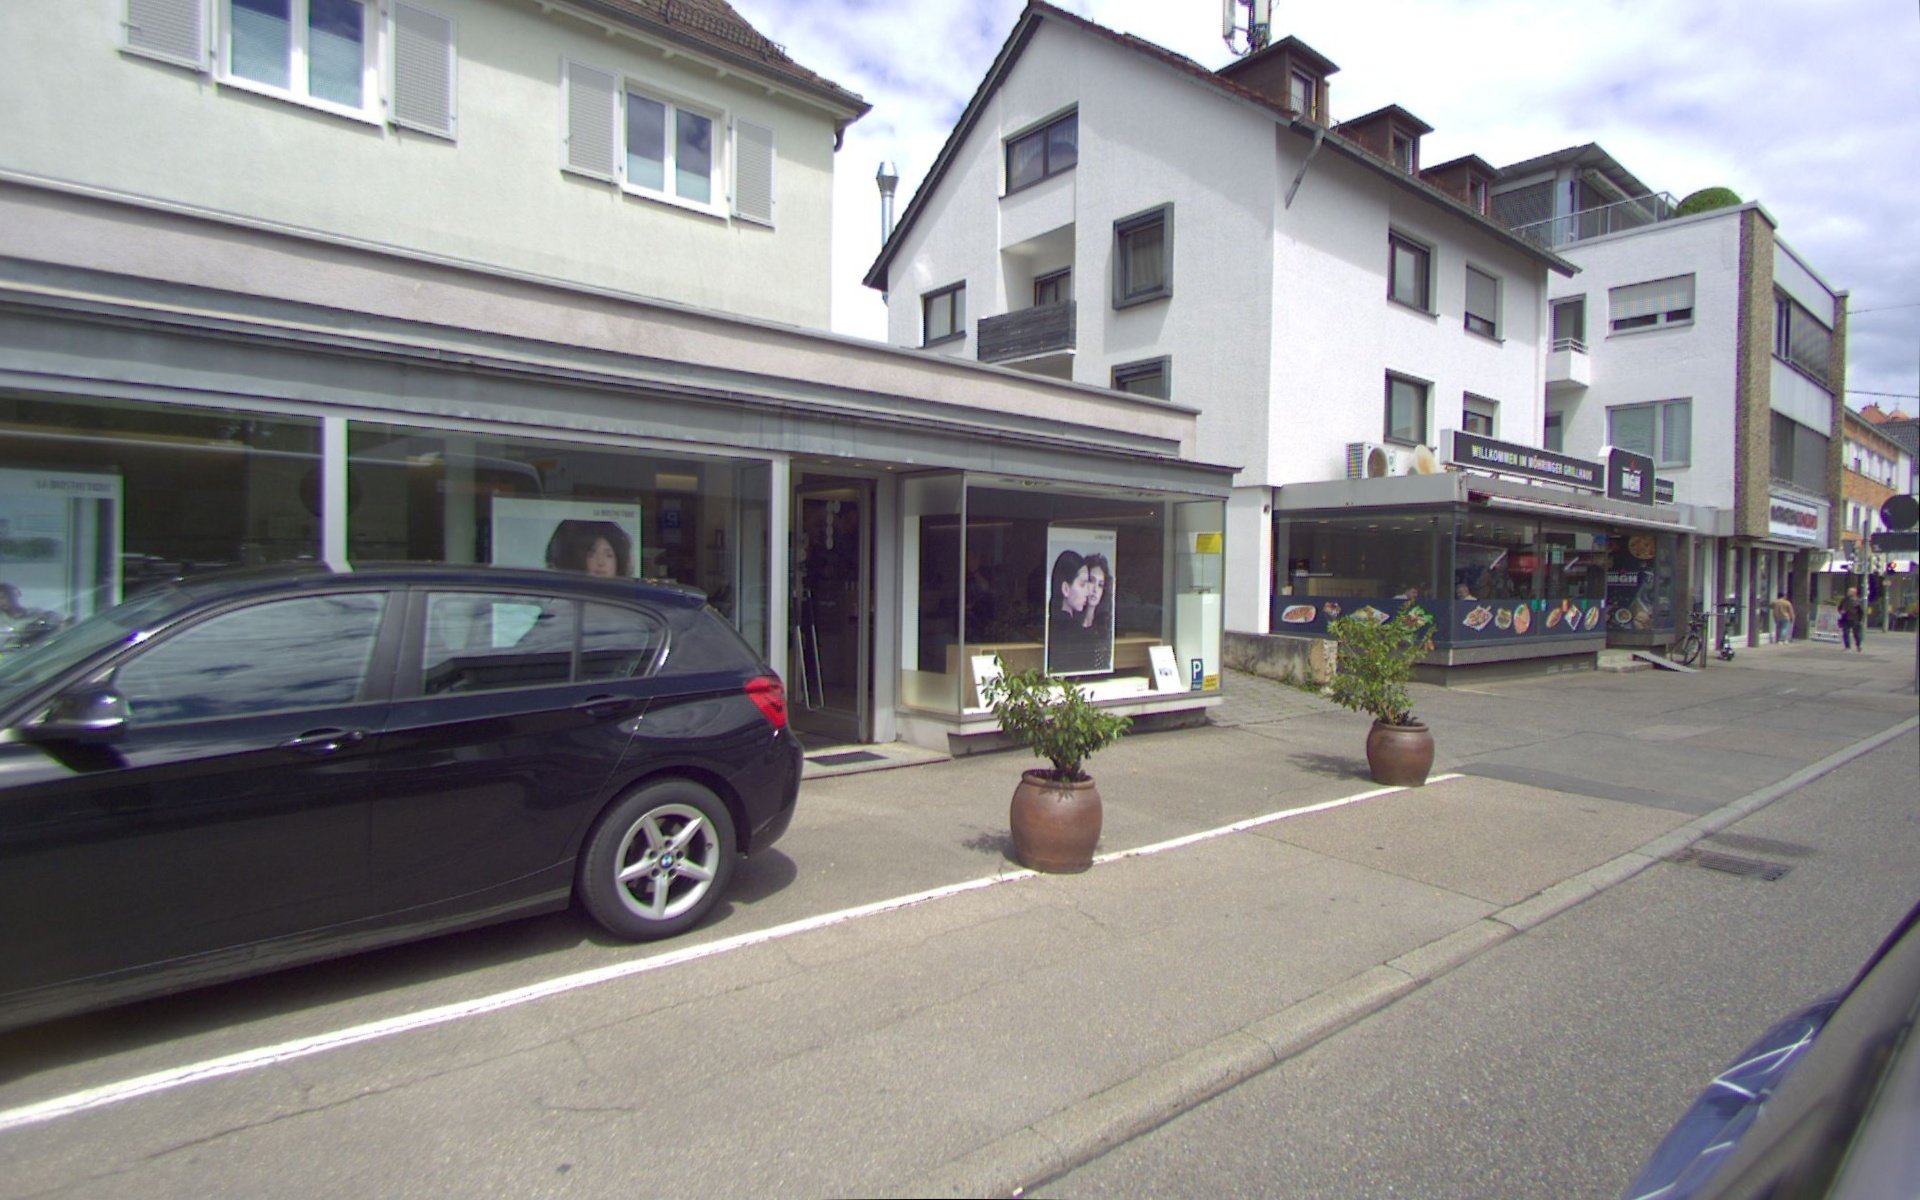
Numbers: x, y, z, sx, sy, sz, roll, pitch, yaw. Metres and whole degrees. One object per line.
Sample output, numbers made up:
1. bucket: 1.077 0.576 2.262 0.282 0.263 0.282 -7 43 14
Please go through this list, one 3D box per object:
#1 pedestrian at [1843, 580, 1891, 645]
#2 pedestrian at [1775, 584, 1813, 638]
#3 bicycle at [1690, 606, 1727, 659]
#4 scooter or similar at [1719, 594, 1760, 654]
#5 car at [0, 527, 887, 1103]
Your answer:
1. pedestrian: 24.398 0.324 27.221 0.793 1.691 0.796 0 2 -40
2. pedestrian: 24.193 0.310 29.351 0.707 1.517 0.681 0 1 -40
3. bicycle: 15.717 0.664 21.236 0.474 1.040 1.612 3 2 41
4. scooter or similar: 17.720 0.532 23.003 0.686 1.283 1.169 2 2 38
5. car: -2.640 0.507 3.694 4.457 1.465 1.972 0 2 -42
